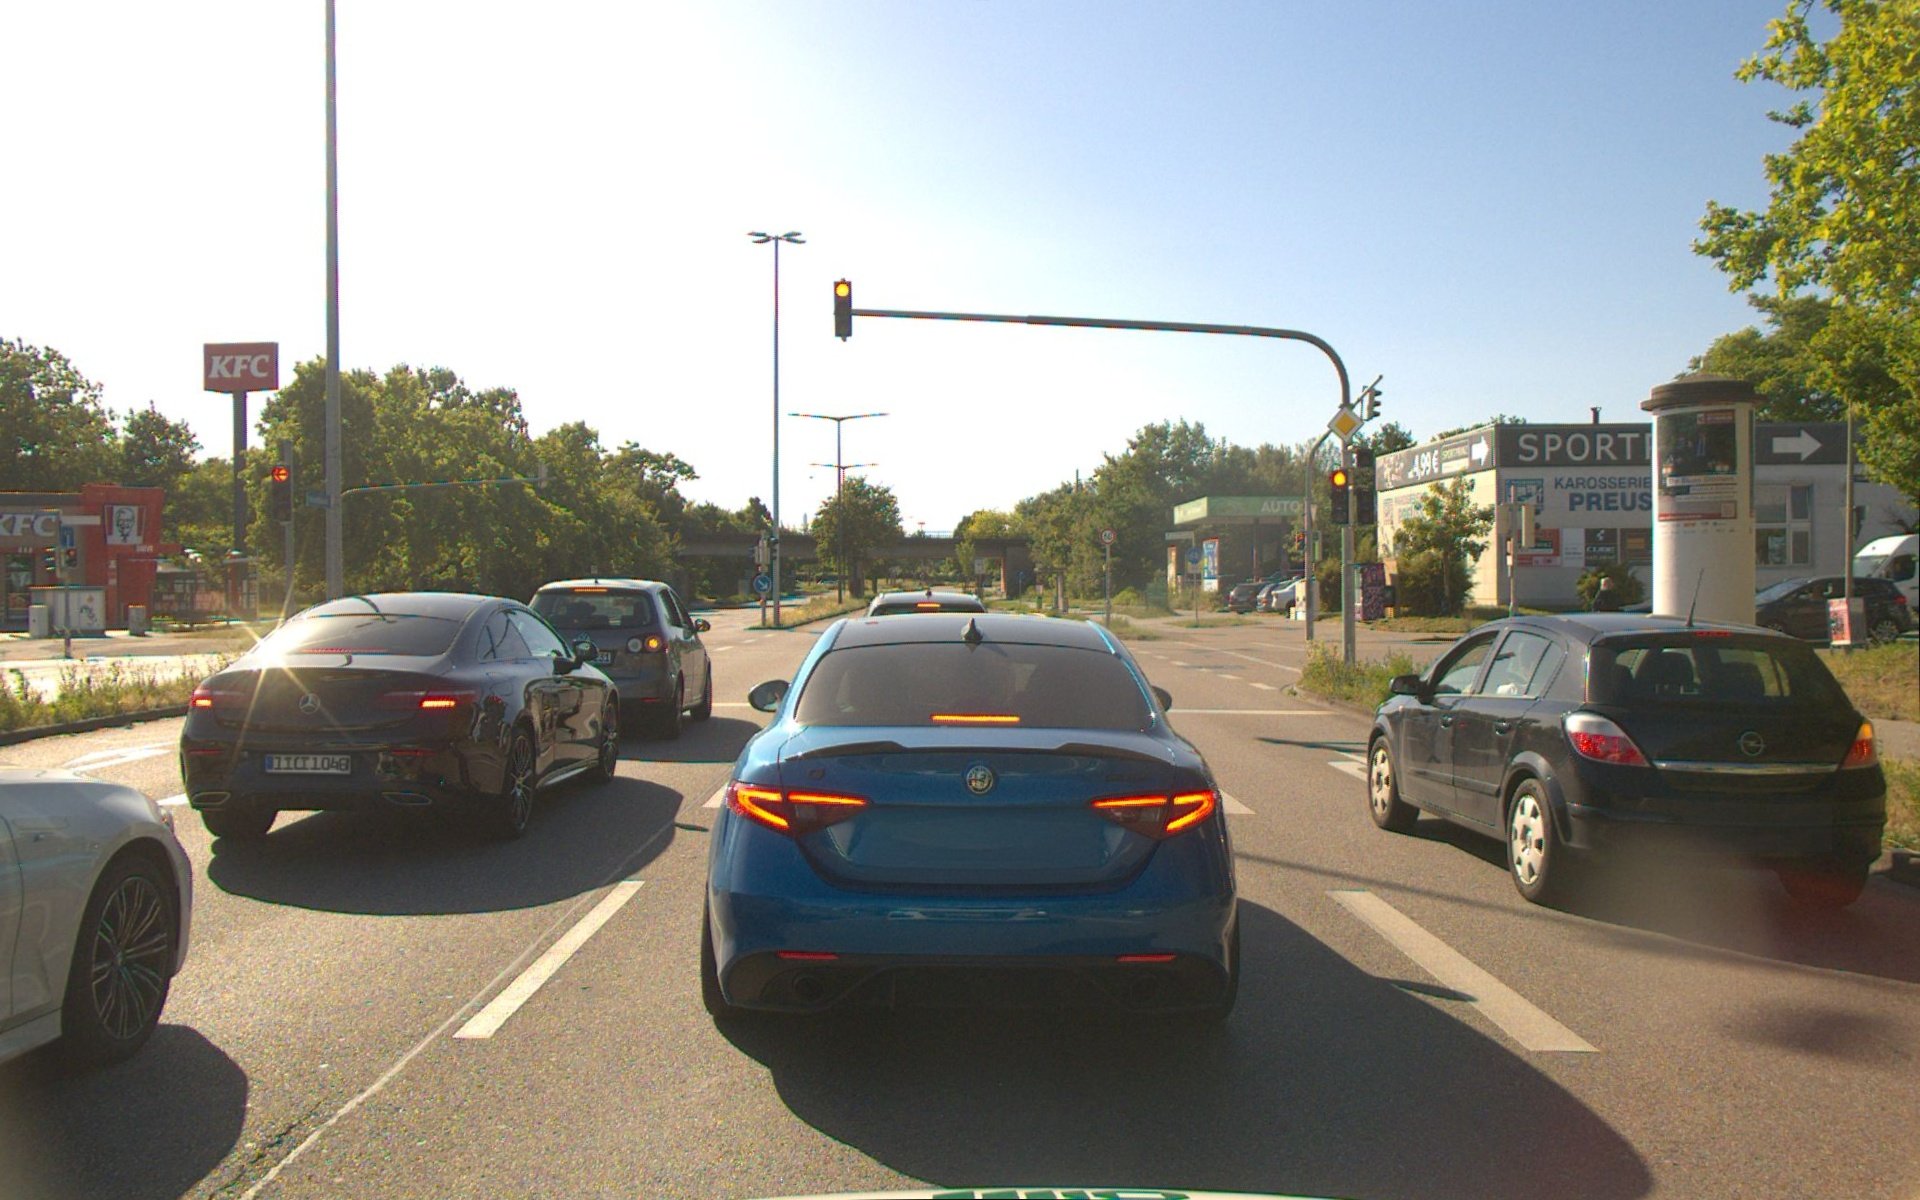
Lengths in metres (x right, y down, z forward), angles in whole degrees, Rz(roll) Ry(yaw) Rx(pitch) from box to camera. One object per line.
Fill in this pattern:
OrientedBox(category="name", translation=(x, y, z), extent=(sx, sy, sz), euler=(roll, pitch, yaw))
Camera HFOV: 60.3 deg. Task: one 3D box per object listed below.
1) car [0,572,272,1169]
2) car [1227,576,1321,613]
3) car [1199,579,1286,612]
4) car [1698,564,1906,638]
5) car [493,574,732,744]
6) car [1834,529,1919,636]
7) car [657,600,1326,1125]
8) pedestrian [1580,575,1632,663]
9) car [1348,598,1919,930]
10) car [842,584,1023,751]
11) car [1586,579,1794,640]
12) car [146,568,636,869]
OrientedBox(category="car", translation=(-3.313, 0.683, 3.528), extent=(1.775, 1.512, 4.596), euler=(0, 0, 0))
OrientedBox(category="car", translation=(14.293, -0.232, 75.339), extent=(3.905, 1.579, 2.000), euler=(1, 0, 0))
OrientedBox(category="car", translation=(14.305, -0.218, 83.821), extent=(3.925, 1.579, 1.990), euler=(1, 0, -18))
OrientedBox(category="car", translation=(20.334, 0.025, 40.037), extent=(4.219, 1.678, 1.637), euler=(1, 0, -2))
OrientedBox(category="car", translation=(-3.578, 0.571, 17.789), extent=(1.776, 1.578, 4.351), euler=(1, 0, -2))
OrientedBox(category="car", translation=(26.351, -0.503, 43.420), extent=(5.715, 2.719, 2.000), euler=(-1, -1, 0))
OrientedBox(category="car", translation=(0.119, 0.750, 6.541), extent=(1.870, 1.447, 3.719), euler=(1, 0, 1))
OrientedBox(category="pedestrian", translation=(12.684, 0.375, 32.469), extent=(0.800, 1.698, 0.514), euler=(1, -1, -1))
OrientedBox(category="car", translation=(3.662, 0.741, 9.638), extent=(1.699, 1.467, 4.370), euler=(1, 0, -1))
OrientedBox(category="car", translation=(-0.227, 0.639, 17.285), extent=(1.669, 1.523, 3.719), euler=(1, 0, 1))
OrientedBox(category="car", translation=(19.154, 0.251, 43.524), extent=(4.722, 1.493, 1.758), euler=(1, 0, -3))
OrientedBox(category="car", translation=(-3.449, 0.616, 11.011), extent=(1.775, 1.578, 4.542), euler=(1, 0, -1))
